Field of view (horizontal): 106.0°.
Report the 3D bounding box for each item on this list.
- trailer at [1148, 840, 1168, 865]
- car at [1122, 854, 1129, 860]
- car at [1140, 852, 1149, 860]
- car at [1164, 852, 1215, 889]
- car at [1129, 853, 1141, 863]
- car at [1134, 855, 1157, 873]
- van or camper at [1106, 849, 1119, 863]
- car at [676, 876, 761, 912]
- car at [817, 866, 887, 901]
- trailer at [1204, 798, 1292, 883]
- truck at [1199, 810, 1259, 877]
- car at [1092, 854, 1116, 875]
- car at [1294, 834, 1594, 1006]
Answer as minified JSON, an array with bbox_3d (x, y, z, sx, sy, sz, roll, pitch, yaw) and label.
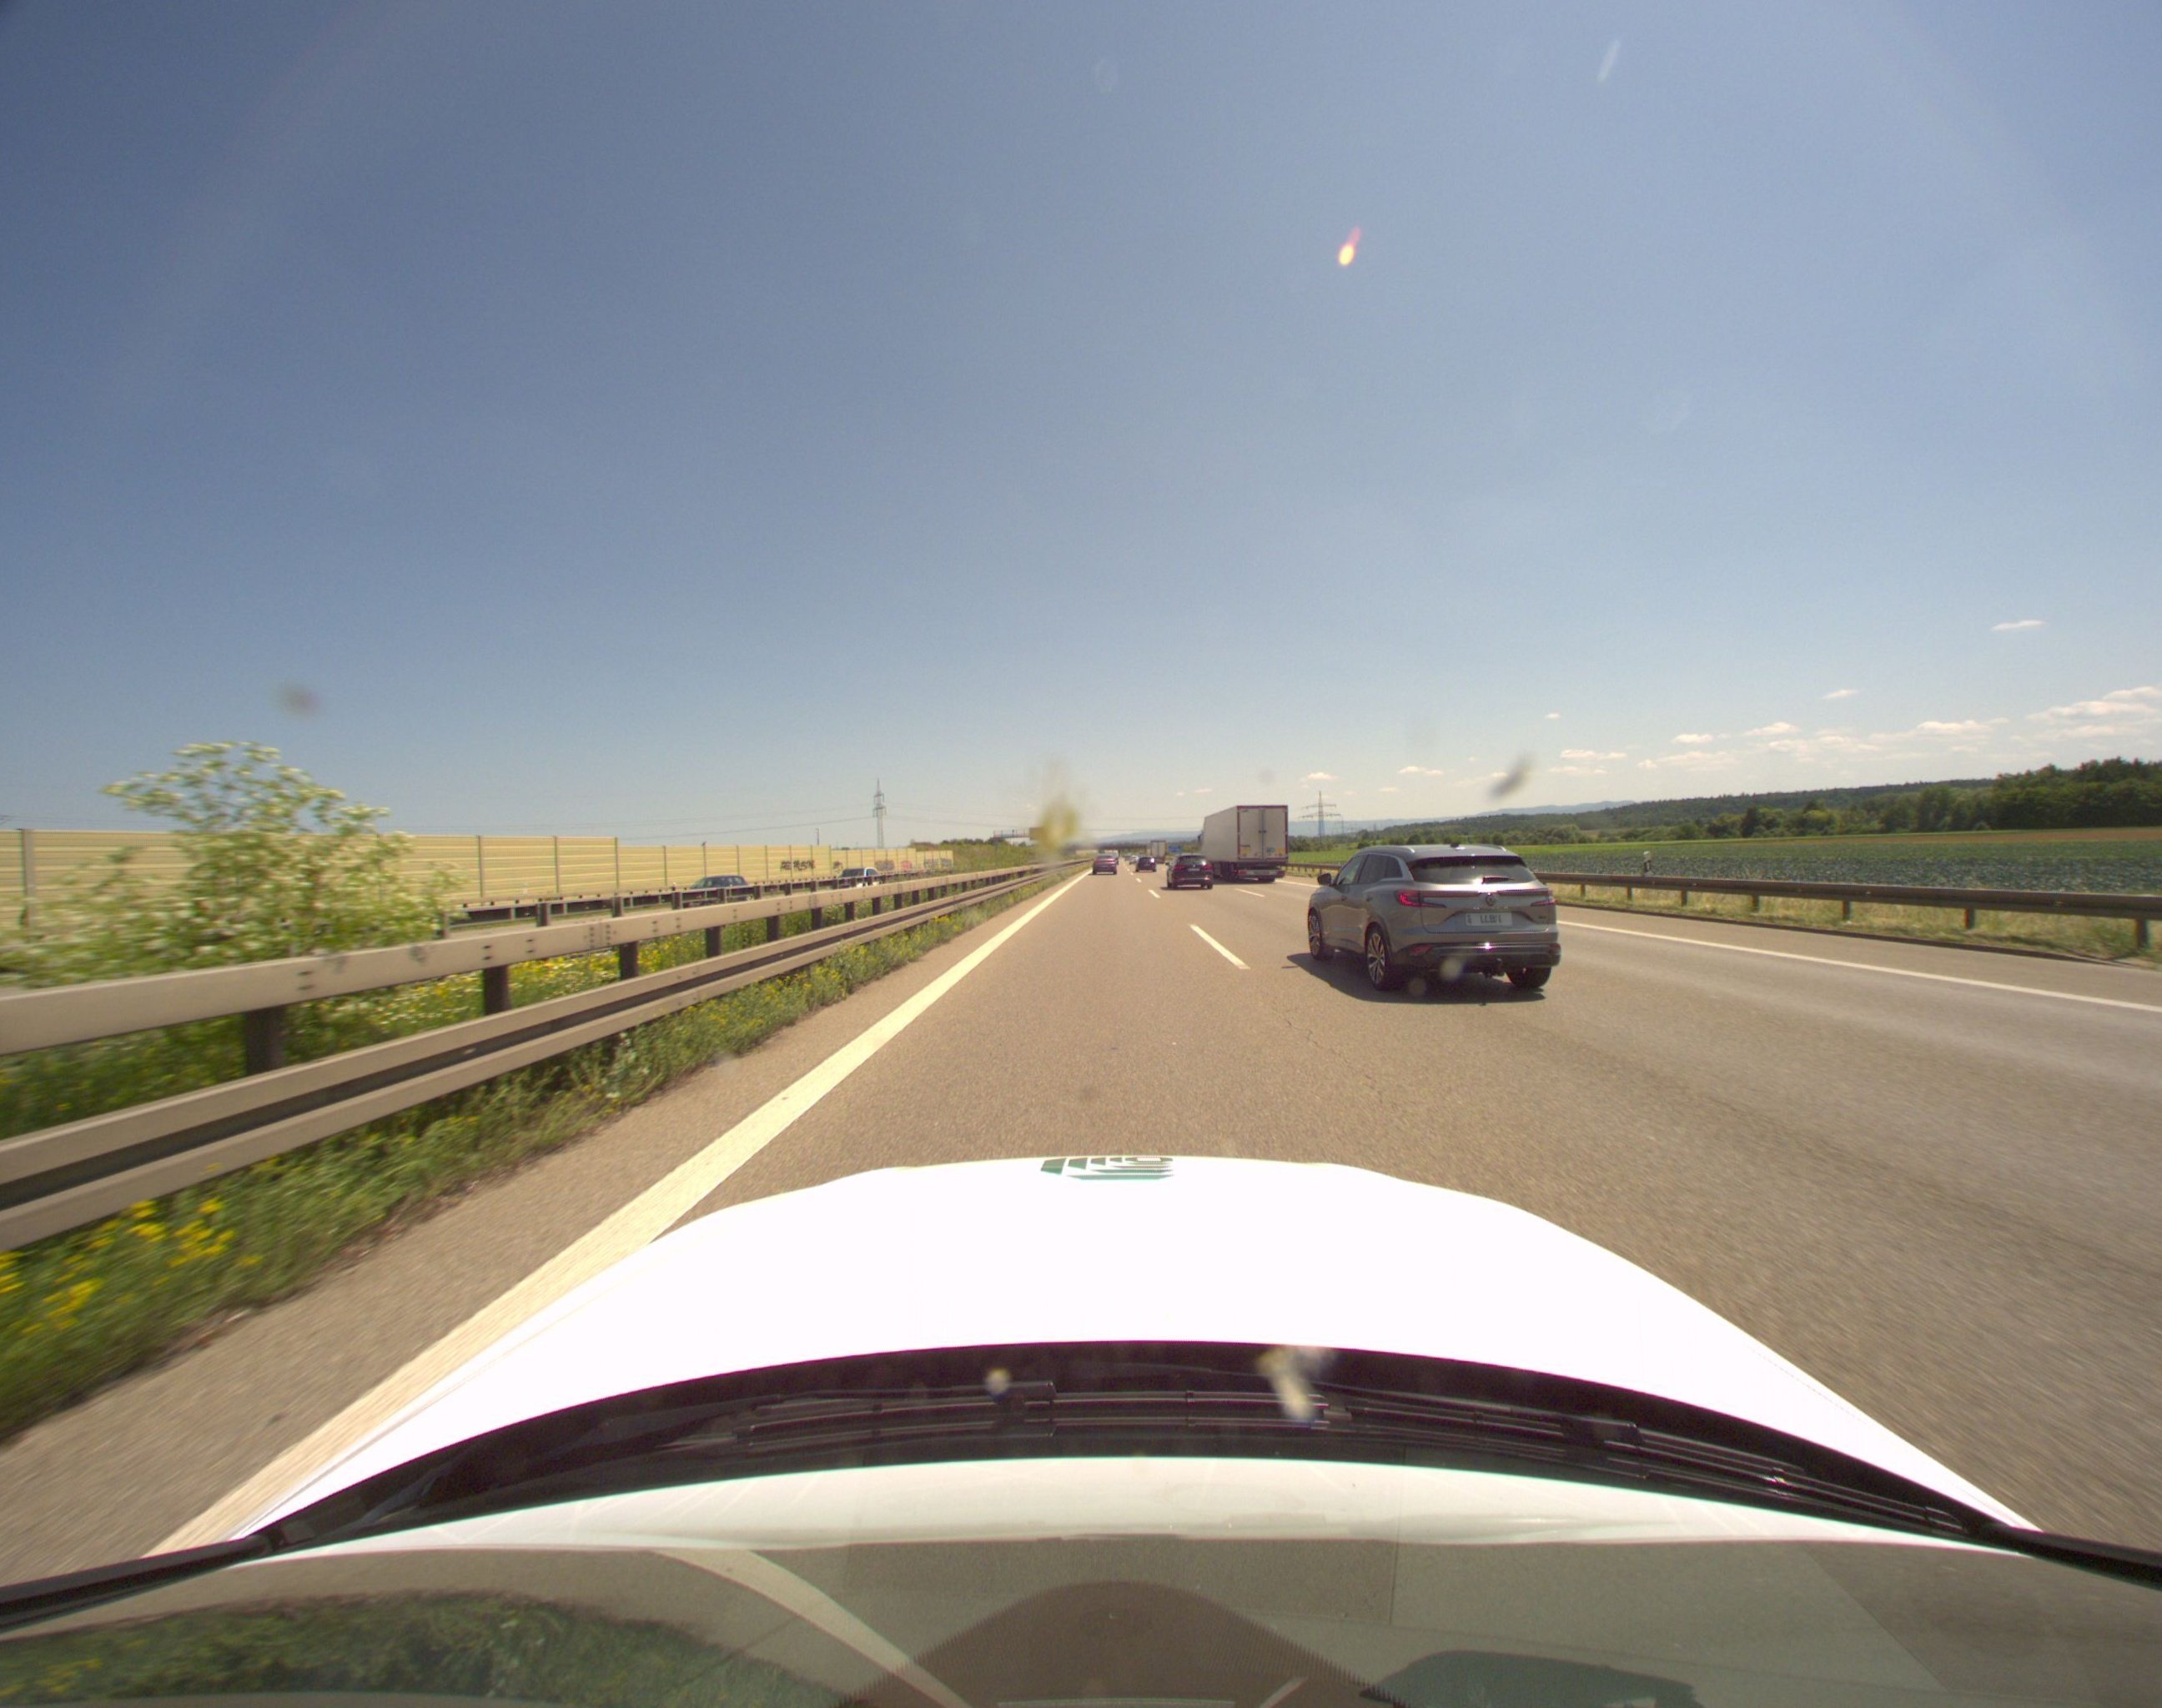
[{"bbox_3d":[13.434,-0.256,143.361,2.931,4.198,13.606,-1,0,3],"label":"trailer"},{"bbox_3d":[12.177,0.820,222.365,1.985,1.683,4.003,-1,0,3],"label":"car"},{"bbox_3d":[14.520,0.450,186.711,1.985,1.683,4.003,-1,0,3],"label":"car"},{"bbox_3d":[4.842,0.717,36.799,1.791,1.562,3.823,-1,0,0],"label":"car"},{"bbox_3d":[9.011,0.677,136.957,1.985,1.683,4.003,-1,0,3],"label":"car"},{"bbox_3d":[5.907,0.878,74.791,1.925,1.574,4.937,-1,0,2],"label":"car"},{"bbox_3d":[5.401,0.308,137.104,2.102,2.211,5.269,-1,0,3],"label":"van or camper"},{"bbox_3d":[-16.268,1.765,36.839,1.712,1.409,4.486,-1,0,2],"label":"car"},{"bbox_3d":[-12.008,1.493,43.180,1.986,1.594,5.308,-3,-1,2],"label":"car"},{"bbox_3d":[9.381,-0.649,47.429,2.856,4.220,13.301,-1,0,2],"label":"trailer"},{"bbox_3d":[9.614,-0.595,53.564,2.852,4.091,6.882,-1,0,2],"label":"truck"},{"bbox_3d":[1.838,0.856,66.276,1.845,1.664,3.734,-1,0,0],"label":"car"},{"bbox_3d":[4.163,0.653,10.313,1.844,1.648,4.647,-1,0,2],"label":"car"}]
